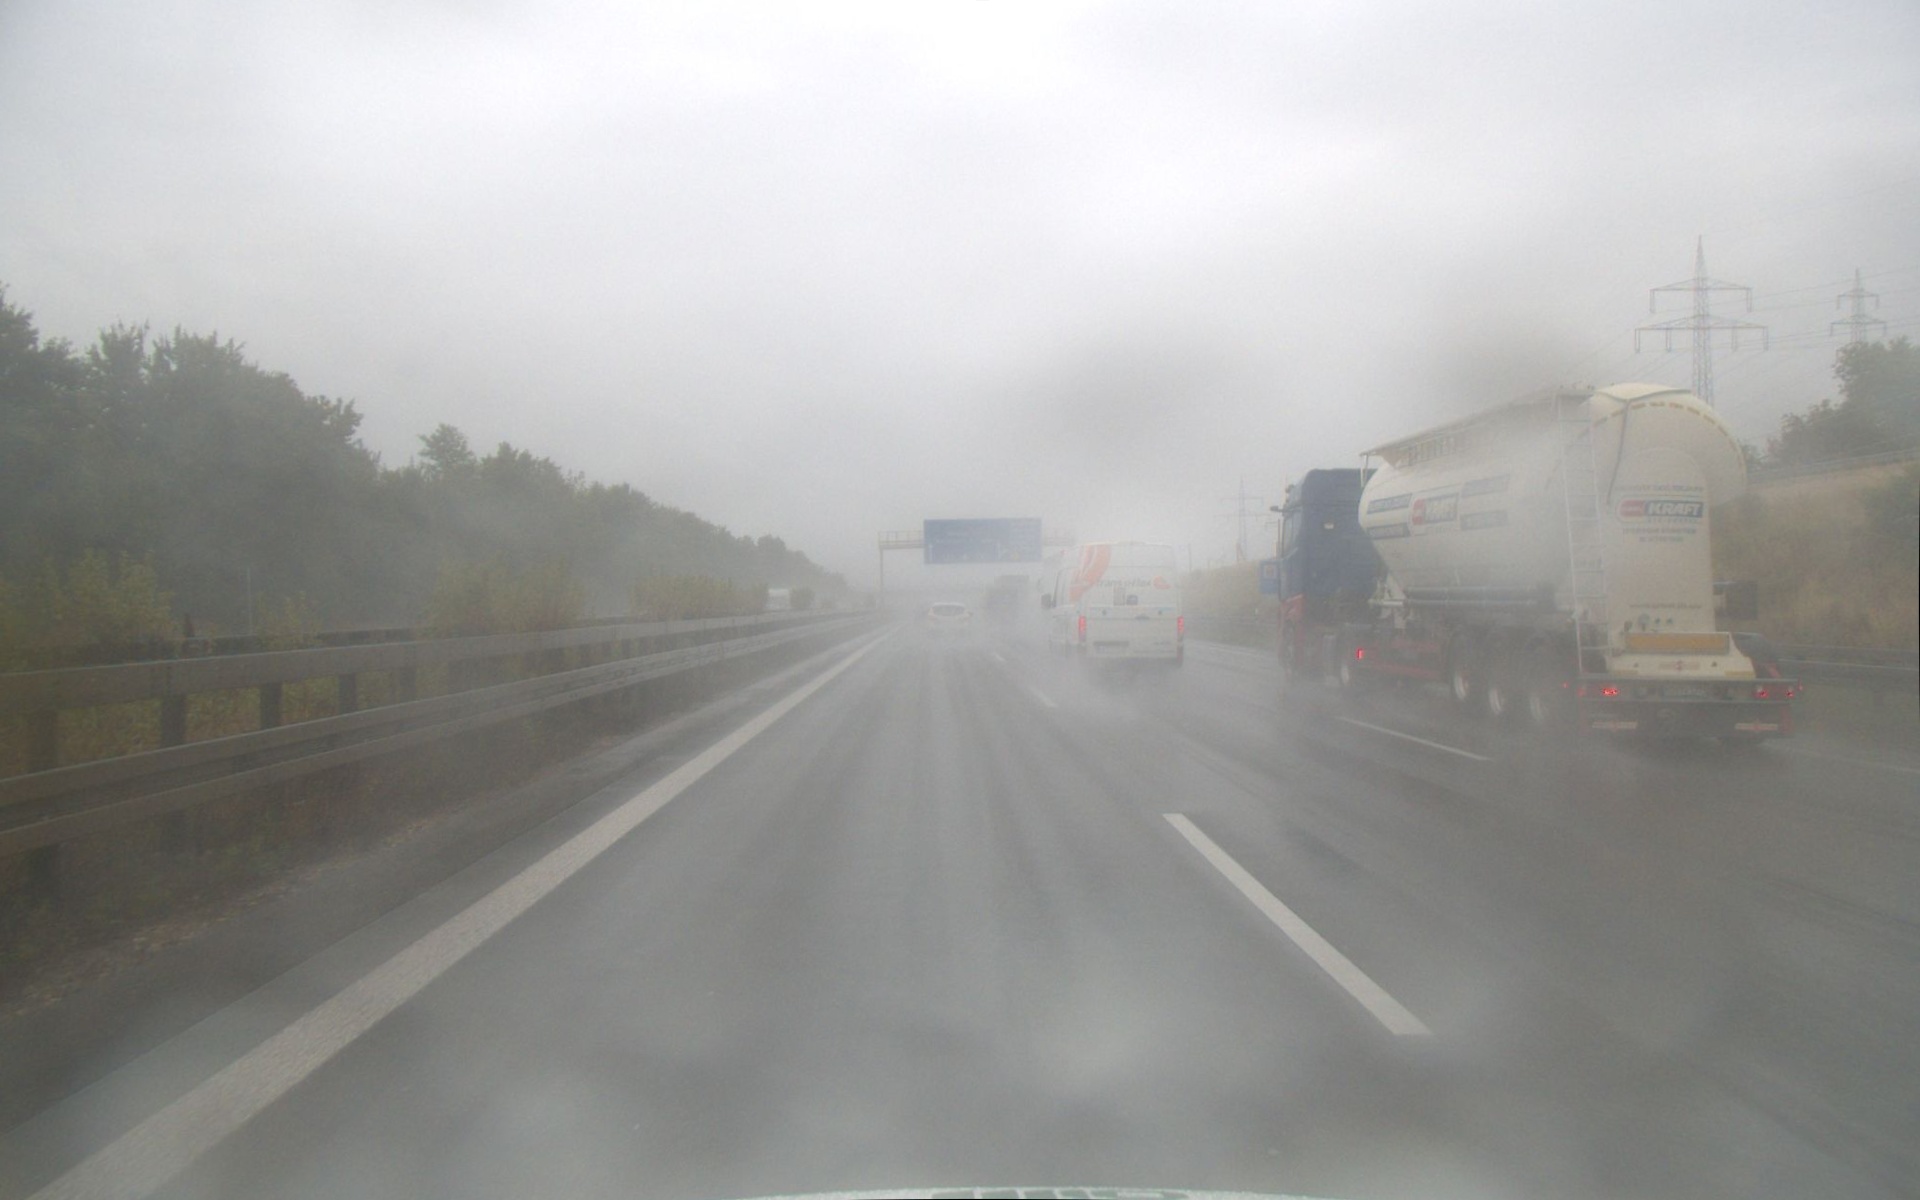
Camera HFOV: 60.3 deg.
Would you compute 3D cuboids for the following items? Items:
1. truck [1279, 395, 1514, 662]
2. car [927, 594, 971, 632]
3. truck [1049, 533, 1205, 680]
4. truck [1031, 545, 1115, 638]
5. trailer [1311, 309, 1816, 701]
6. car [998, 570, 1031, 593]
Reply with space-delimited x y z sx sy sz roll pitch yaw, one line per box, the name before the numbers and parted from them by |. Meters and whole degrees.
truck | 7.172 -1.112 27.841 2.446 4.053 5.074 1 0 -2
car | -0.423 0.462 61.805 1.573 1.361 3.847 1 0 -1
truck | 3.061 0.090 31.608 2.370 2.536 5.559 1 0 -1
truck | 6.063 -0.363 91.808 2.978 4.668 16.343 1 0 -2
trailer | 7.313 -1.014 22.338 2.447 3.950 11.063 1 0 -2
car | 4.936 -1.694 151.558 2.732 2.049 4.992 1 0 -1
